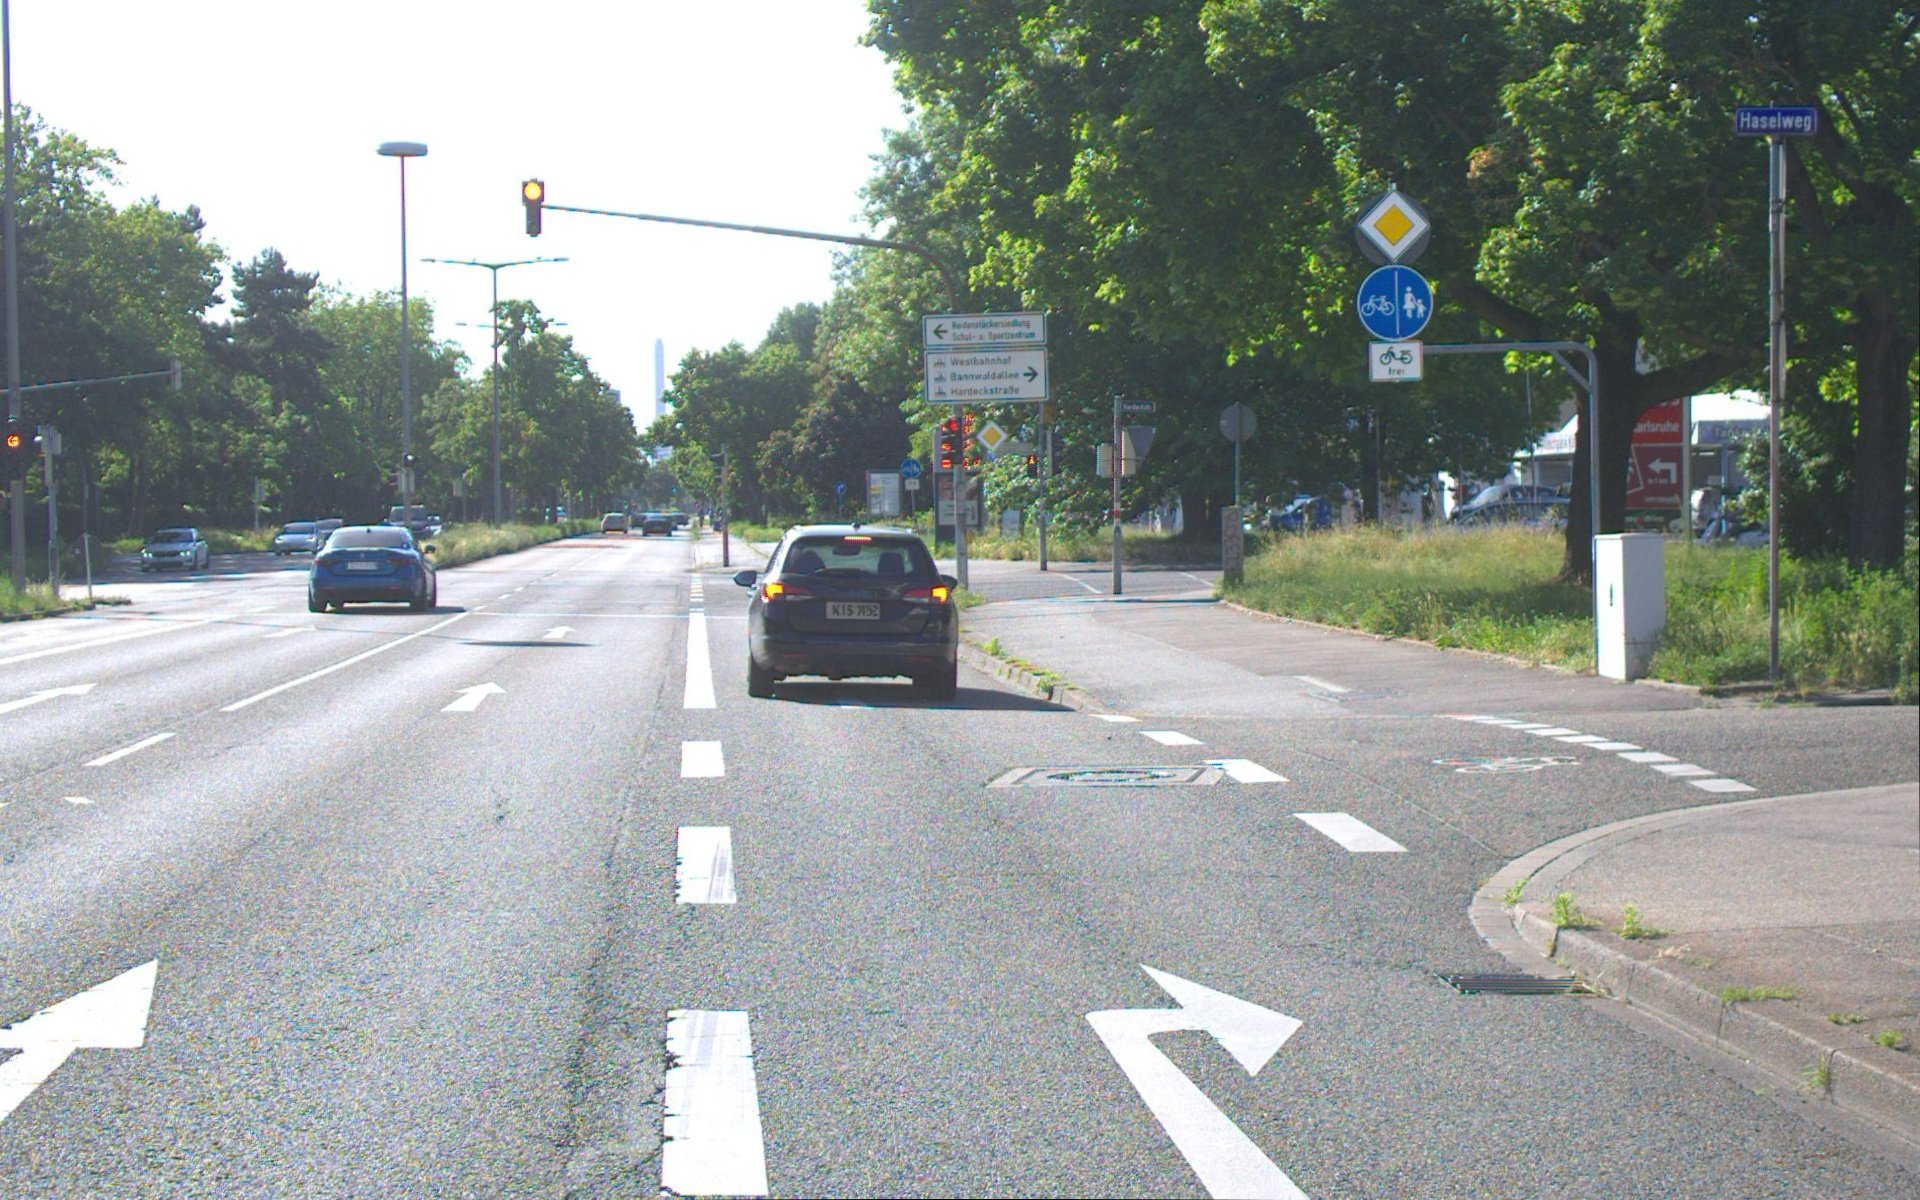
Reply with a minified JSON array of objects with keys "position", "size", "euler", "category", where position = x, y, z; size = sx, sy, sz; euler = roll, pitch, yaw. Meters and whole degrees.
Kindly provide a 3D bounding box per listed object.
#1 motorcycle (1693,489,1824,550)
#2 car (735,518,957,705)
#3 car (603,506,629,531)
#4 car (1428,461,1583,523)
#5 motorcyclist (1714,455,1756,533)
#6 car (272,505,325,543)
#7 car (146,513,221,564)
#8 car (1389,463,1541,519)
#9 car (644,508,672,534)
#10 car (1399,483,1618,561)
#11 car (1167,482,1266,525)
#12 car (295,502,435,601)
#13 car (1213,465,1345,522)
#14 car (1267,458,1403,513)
[{"position":[17.287,-1.742,74.468],"size":[2.726,1.266,0.834],"euler":[1,1,12],"category":"motorcycle"},{"position":[-1.050,0.049,29.953],"size":[1.755,1.504,3.809],"euler":[-1,1,-4],"category":"car"},{"position":[-24.739,-5.841,247.097],"size":[1.824,1.610,3.840],"euler":[0,-2,-6],"category":"car"},{"position":[14.987,-2.959,94.472],"size":[3.835,1.606,1.806],"euler":[0,1,-23],"category":"car"},{"position":[16.798,-2.295,74.539],"size":[0.860,1.674,0.834],"euler":[1,1,12],"category":"motorcyclist"},{"position":[-29.657,-3.411,154.126],"size":[1.864,1.678,4.001],"euler":[1,1,-4],"category":"car"},{"position":[-26.599,-2.126,117.855],"size":[1.864,1.678,4.261],"euler":[1,1,-4],"category":"car"},{"position":[14.171,-3.051,96.470],"size":[3.835,1.477,1.806],"euler":[0,1,-23],"category":"car"},{"position":[-19.134,-5.015,217.812],"size":[1.732,1.579,3.841],"euler":[1,1,-5],"category":"car"},{"position":[11.957,-1.701,75.197],"size":[4.619,1.568,2.000],"euler":[-1,1,7],"category":"car"},{"position":[10.358,-3.878,138.807],"size":[3.711,1.679,1.705],"euler":[1,1,-7],"category":"car"},{"position":[-9.914,-0.827,57.557],"size":[1.888,1.546,4.001],"euler":[-1,1,-4],"category":"car"},{"position":[9.788,-3.251,105.573],"size":[3.711,1.679,1.704],"euler":[0,1,-30],"category":"car"},{"position":[11.267,-3.425,103.296],"size":[3.836,1.558,1.805],"euler":[0,1,-36],"category":"car"}]
